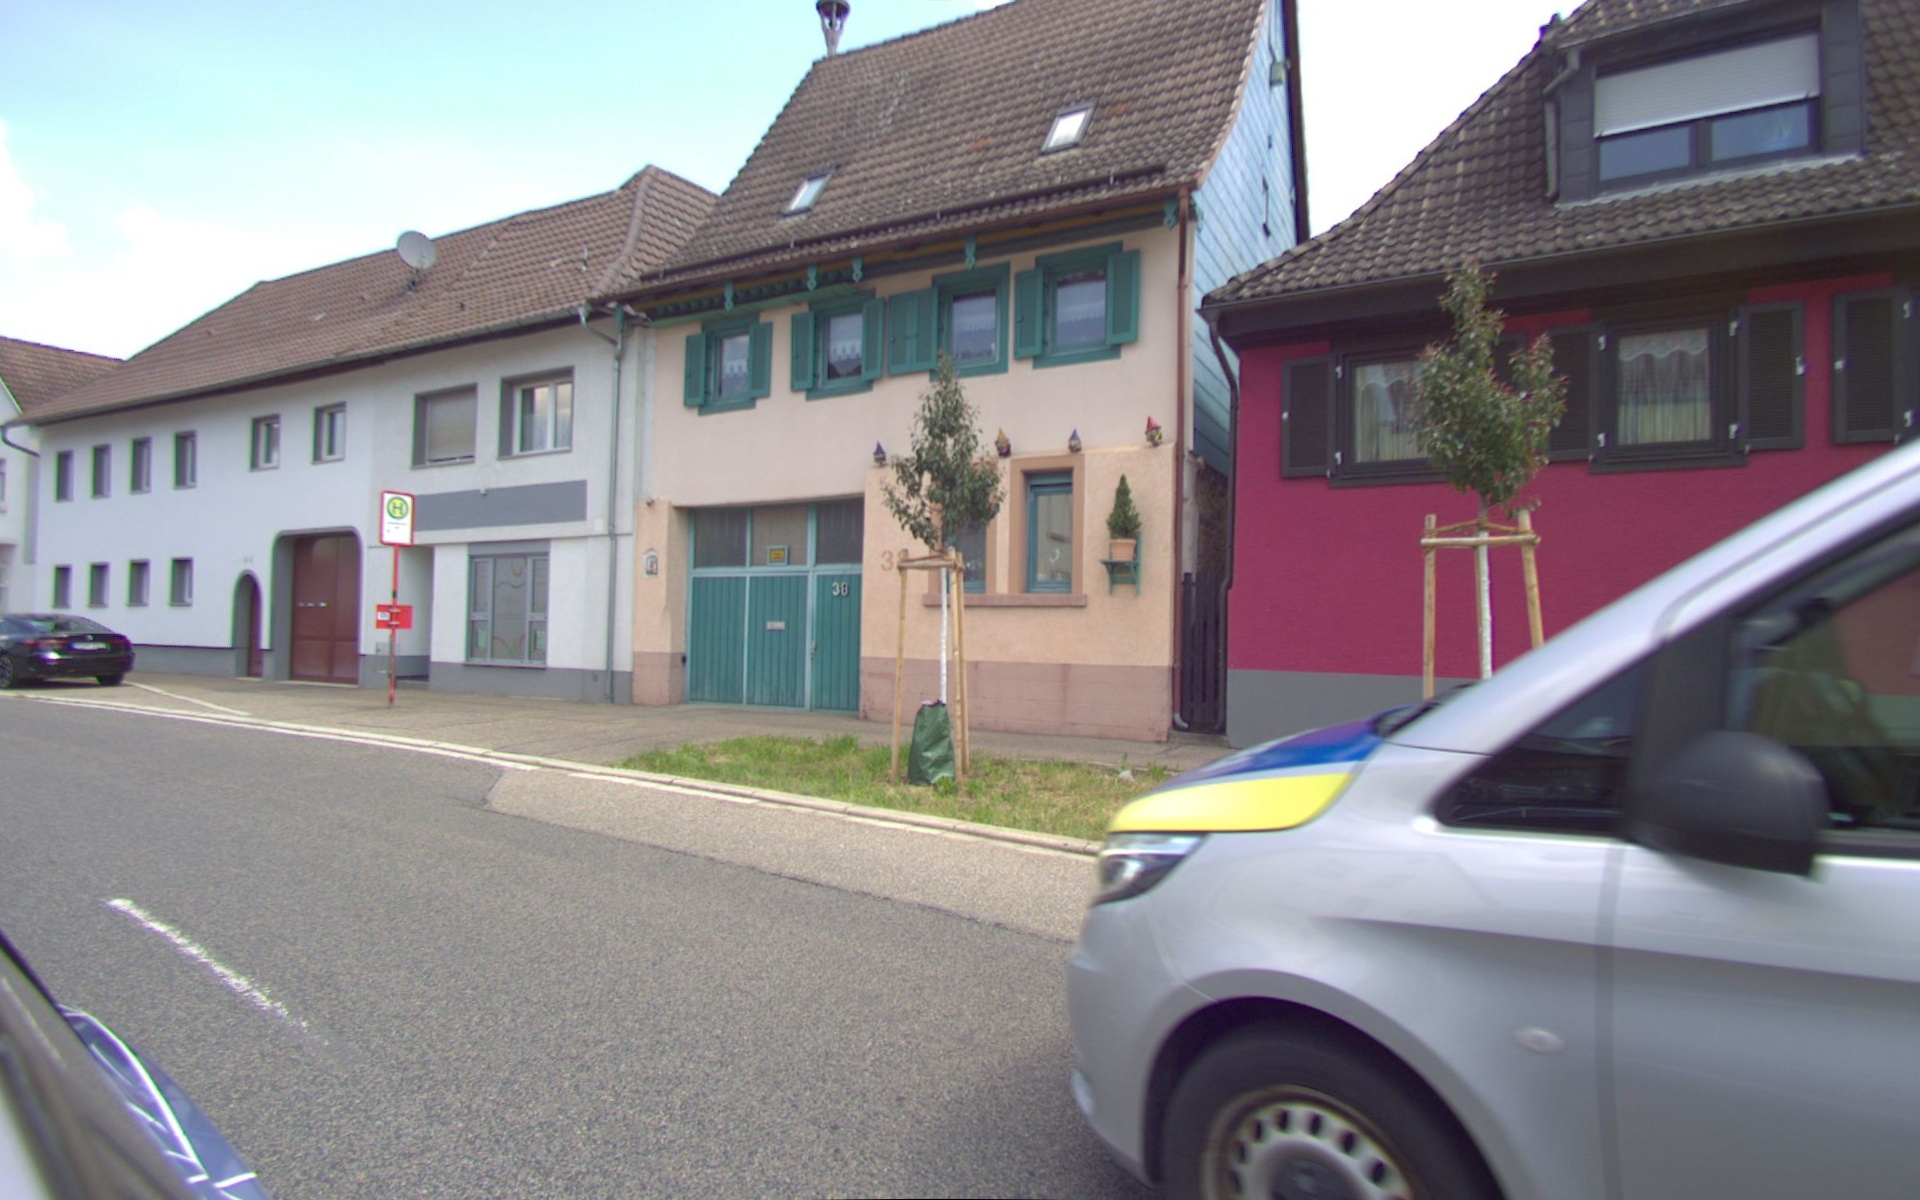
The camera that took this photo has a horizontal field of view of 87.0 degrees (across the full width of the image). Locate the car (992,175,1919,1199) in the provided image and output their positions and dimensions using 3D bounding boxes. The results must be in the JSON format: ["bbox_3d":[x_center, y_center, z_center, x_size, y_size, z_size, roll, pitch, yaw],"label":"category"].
[{"bbox_3d":[2.551,0.362,1.294,4.936,1.813,1.972,1,3,43],"label":"car"}]

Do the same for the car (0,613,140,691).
[{"bbox_3d":[-18.180,0.960,19.559,4.729,1.359,1.756,-1,-1,25],"label":"car"}]
